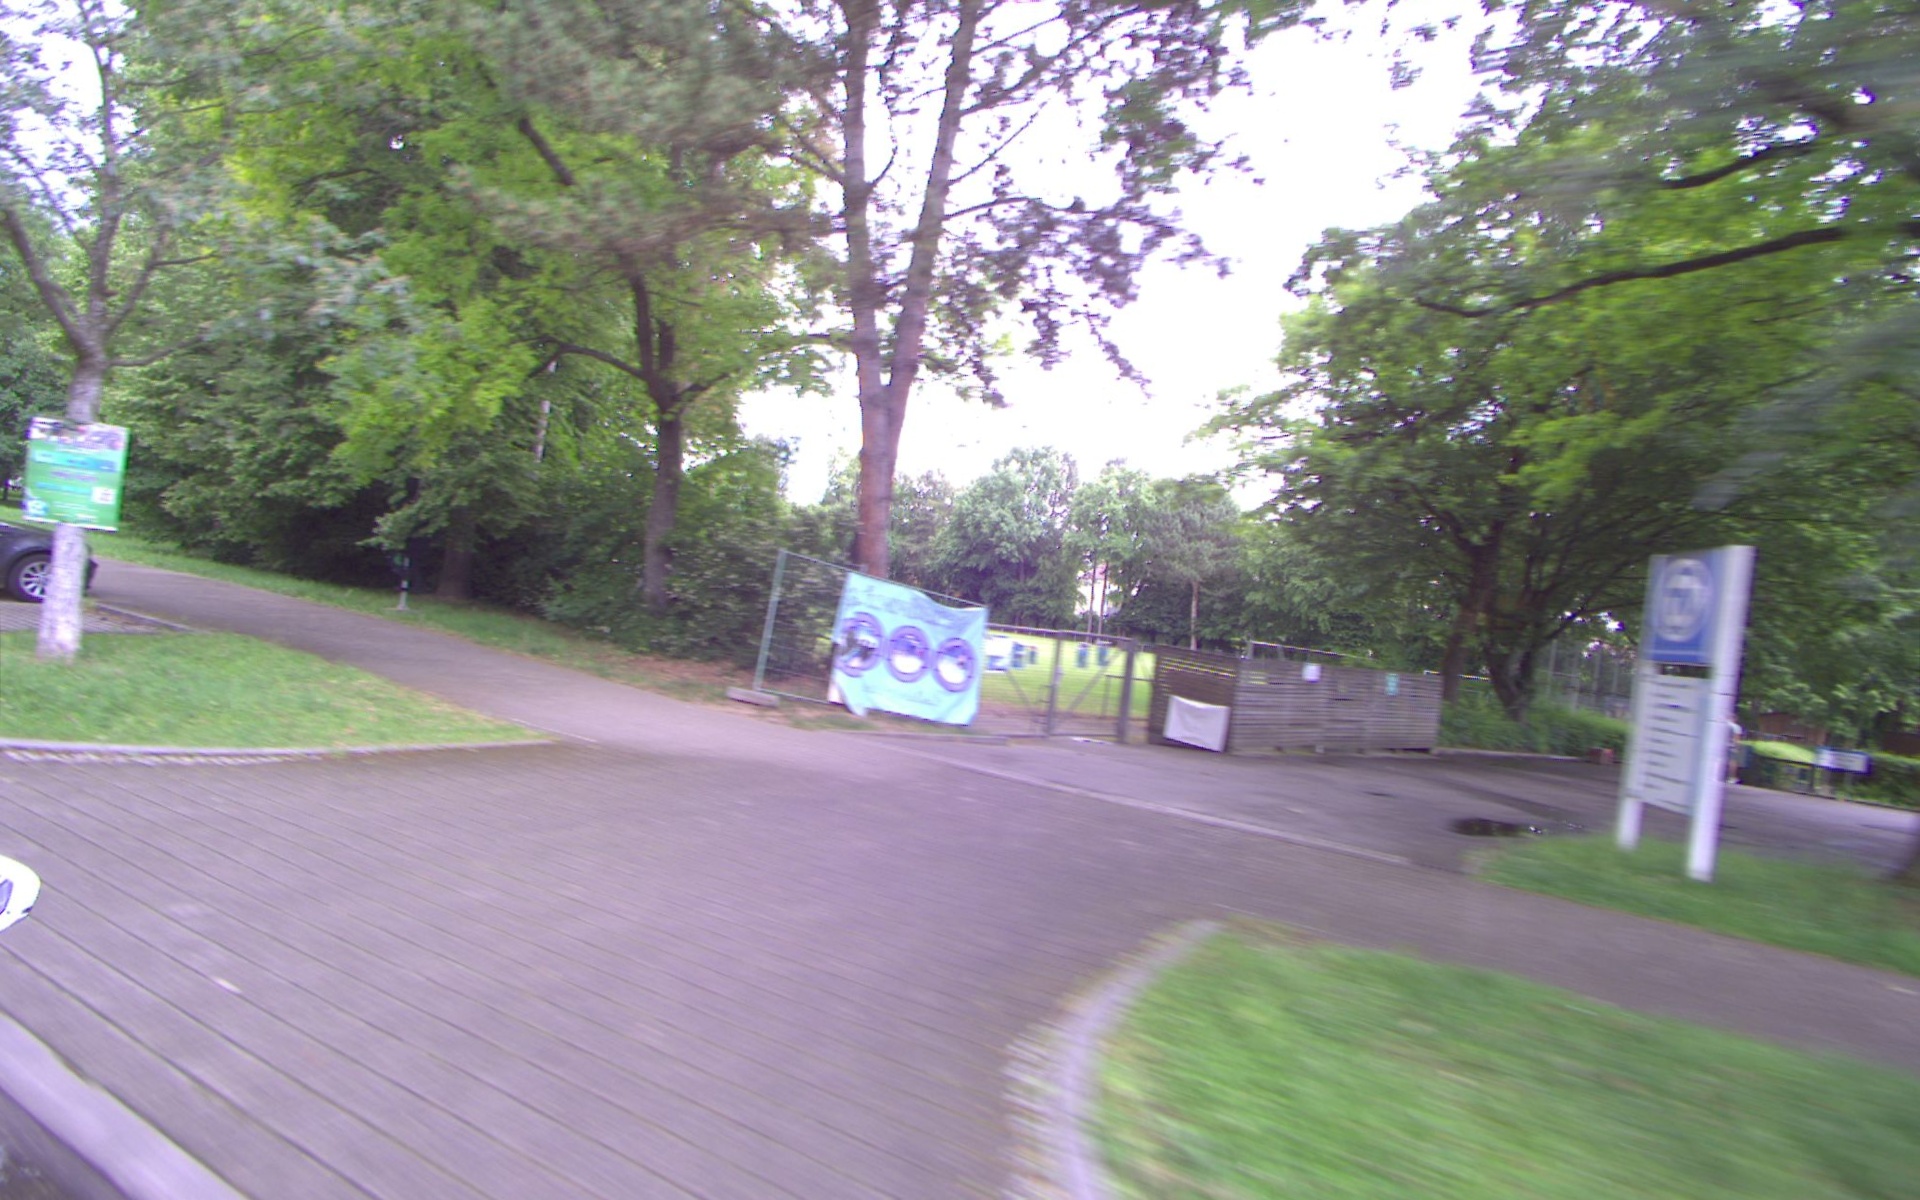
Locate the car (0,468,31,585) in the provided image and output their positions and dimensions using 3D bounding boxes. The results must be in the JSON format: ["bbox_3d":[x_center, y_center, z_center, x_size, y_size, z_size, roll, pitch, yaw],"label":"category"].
[{"bbox_3d":[-14.823,-1.168,12.761,1.791,1.588,4.069,5,0,28],"label":"car"}]

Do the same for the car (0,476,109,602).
[{"bbox_3d":[-12.706,-0.863,11.505,1.966,1.452,4.069,5,0,28],"label":"car"}]

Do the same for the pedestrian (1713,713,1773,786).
[{"bbox_3d":[19.916,3.780,25.588,1.140,1.696,0.786,4,1,-36],"label":"pedestrian"}]
